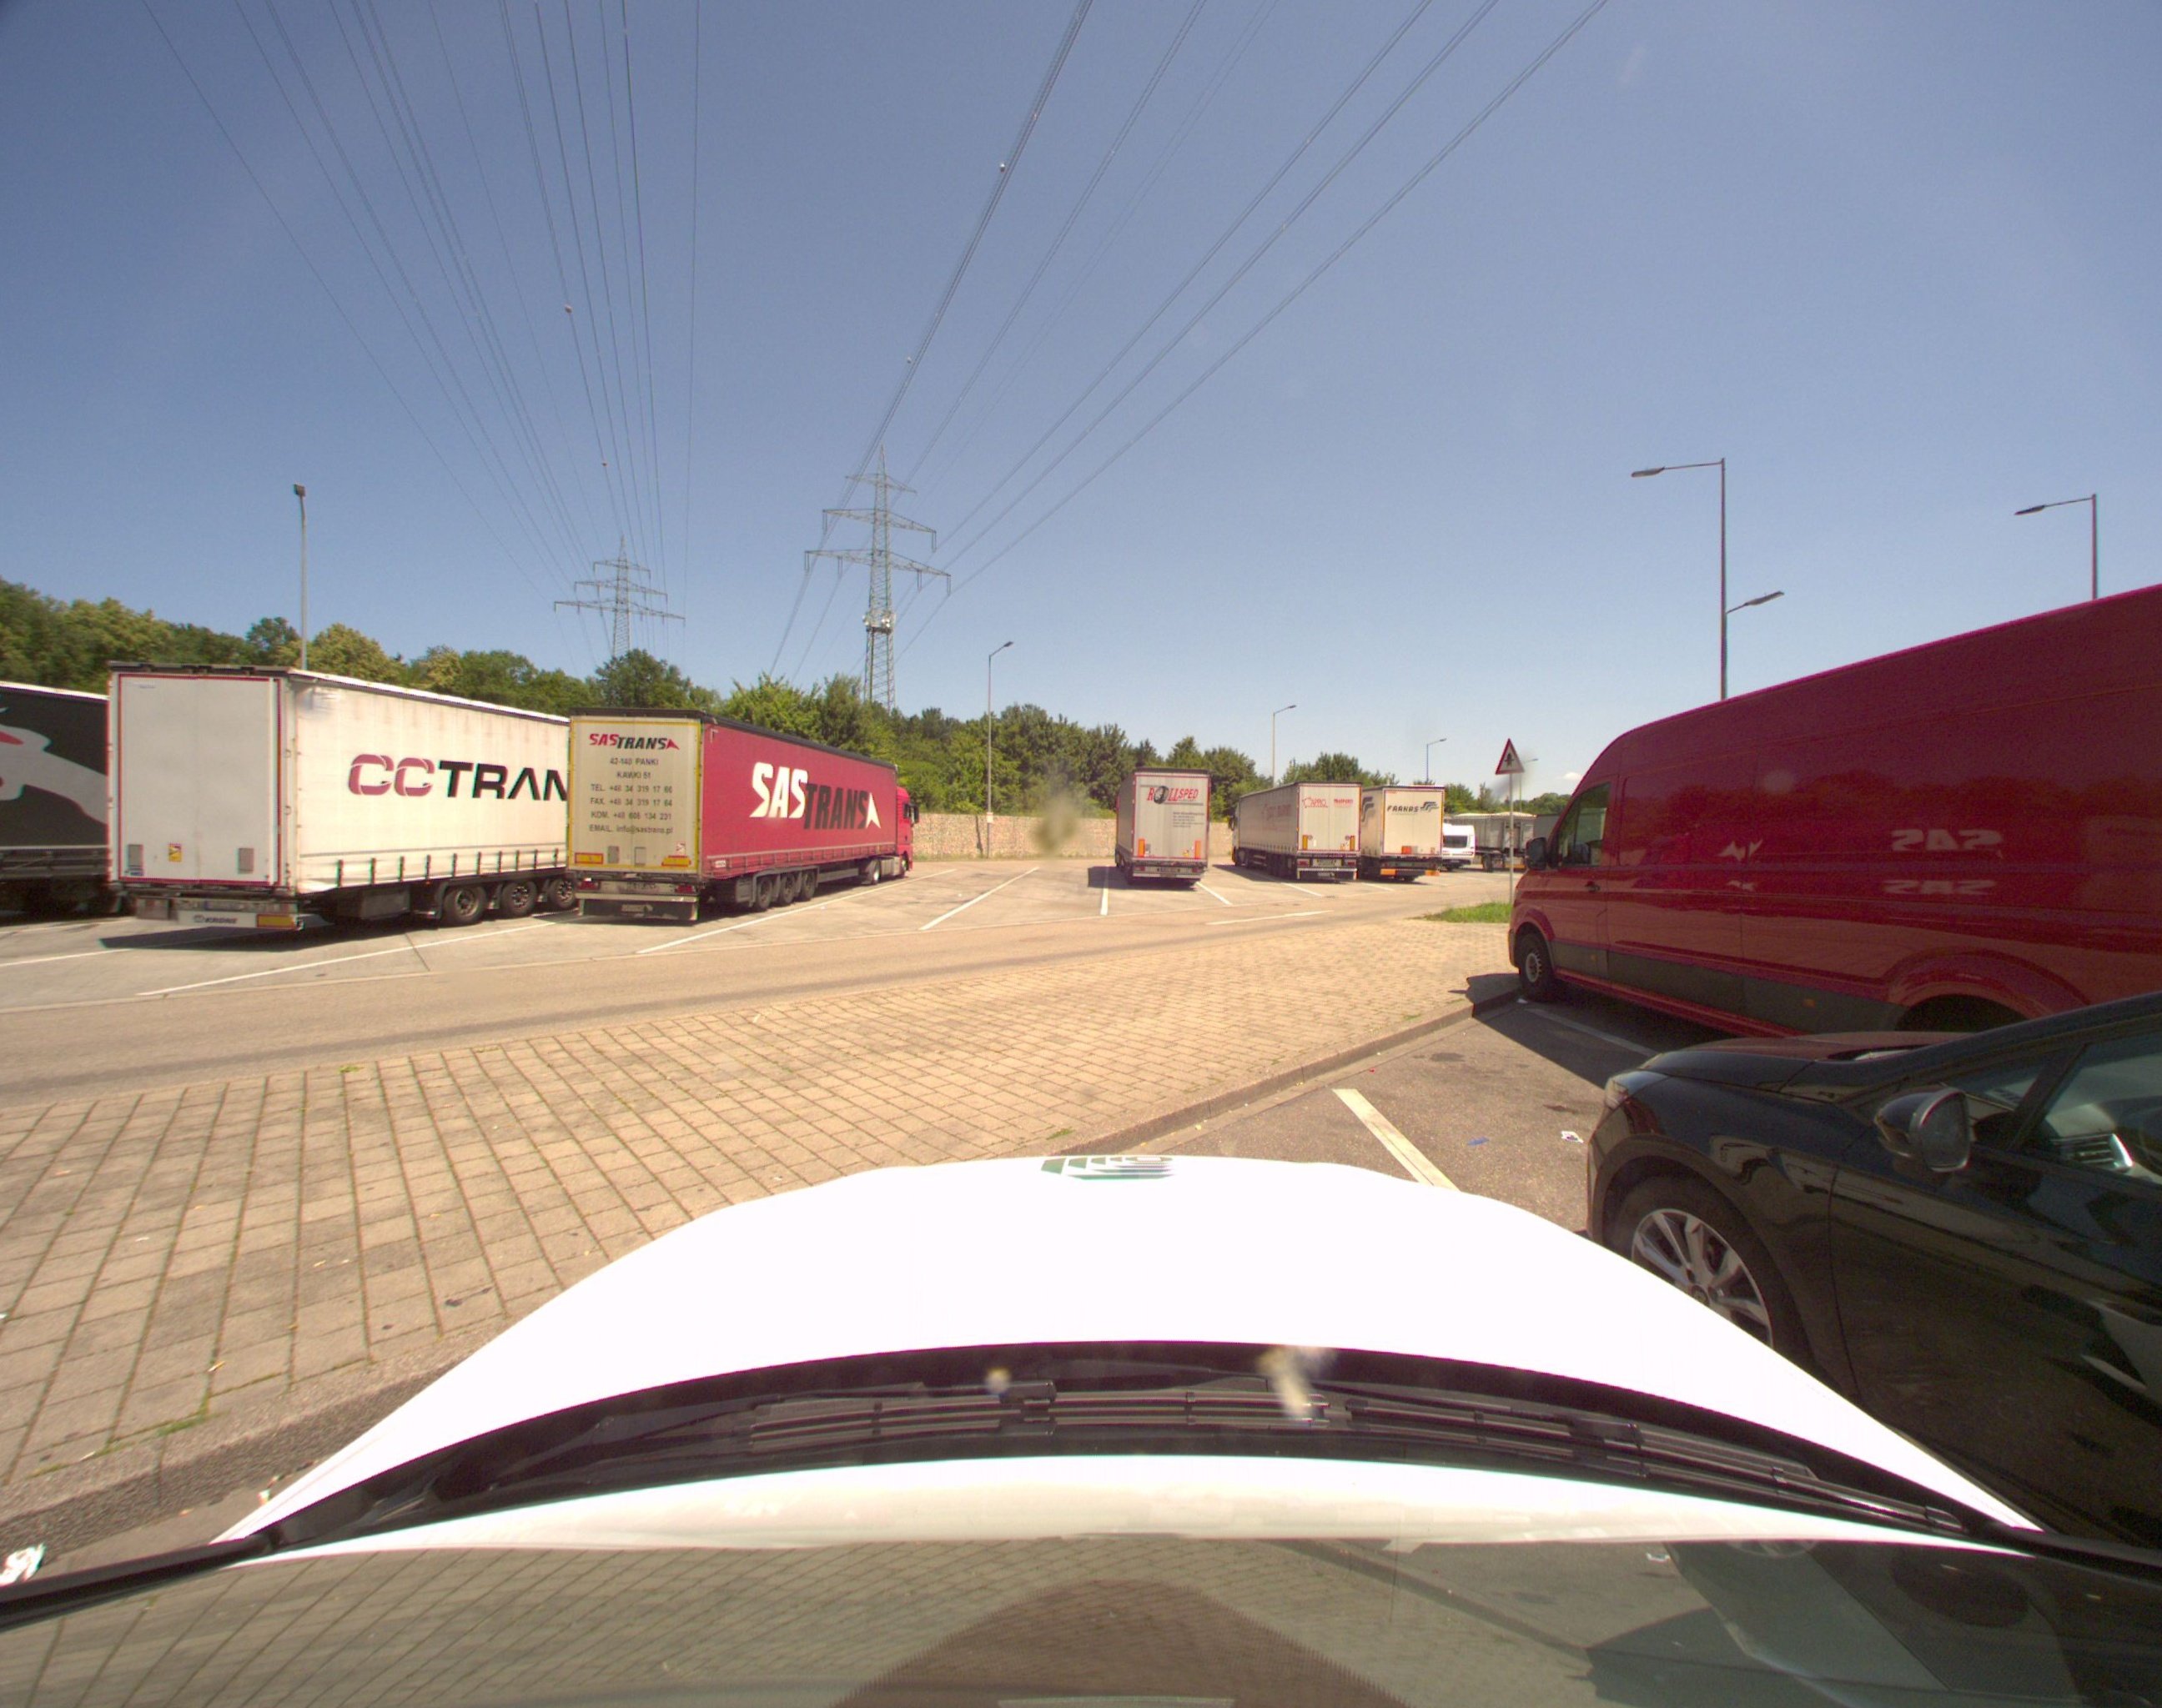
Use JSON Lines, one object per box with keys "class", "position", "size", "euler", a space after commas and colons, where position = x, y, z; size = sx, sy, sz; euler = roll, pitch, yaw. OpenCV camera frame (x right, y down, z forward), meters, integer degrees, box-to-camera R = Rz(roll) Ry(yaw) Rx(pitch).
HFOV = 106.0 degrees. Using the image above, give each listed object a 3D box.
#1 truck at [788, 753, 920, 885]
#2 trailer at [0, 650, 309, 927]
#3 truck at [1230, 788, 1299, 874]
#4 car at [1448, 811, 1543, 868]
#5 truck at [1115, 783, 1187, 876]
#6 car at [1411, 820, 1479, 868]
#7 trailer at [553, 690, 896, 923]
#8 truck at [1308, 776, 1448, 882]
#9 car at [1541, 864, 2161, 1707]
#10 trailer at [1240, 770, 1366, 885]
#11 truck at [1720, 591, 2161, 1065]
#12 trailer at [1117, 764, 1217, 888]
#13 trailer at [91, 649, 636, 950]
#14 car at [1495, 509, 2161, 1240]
{"class": "truck", "position": [-7.756, -1.140, 28.713], "size": [2.795, 4.133, 5.896], "euler": [-1, 1, 2]}
{"class": "trailer", "position": [-18.565, -1.065, 14.974], "size": [2.668, 4.444, 6.151], "euler": [-1, 1, 2]}
{"class": "truck", "position": [10.074, -1.239, 45.215], "size": [2.651, 4.452, 5.866], "euler": [-1, 1, 2]}
{"class": "car", "position": [24.131, -0.828, 47.752], "size": [2.490, 3.074, 6.353], "euler": [-1, 1, 2]}
{"class": "truck", "position": [3.124, -1.093, 37.765], "size": [2.862, 3.980, 6.030], "euler": [0, 1, 1]}
{"class": "car", "position": [20.533, -0.524, 46.130], "size": [2.107, 2.599, 4.001], "euler": [0, -1, 2]}
{"class": "trailer", "position": [-8.006, -0.950, 21.457], "size": [2.789, 4.219, 13.208], "euler": [-1, 1, 2]}
{"class": "truck", "position": [13.527, -0.945, 38.536], "size": [2.577, 4.226, 11.974], "euler": [0, -1, 2]}
{"class": "car", "position": [2.541, 0.754, 0.958], "size": [1.772, 1.457, 3.681], "euler": [0, -1, -3]}
{"class": "trailer", "position": [9.898, -1.118, 38.148], "size": [2.672, 4.452, 12.833], "euler": [-1, 1, 1]}
{"class": "truck", "position": [7.786, -0.153, 6.022], "size": [2.508, 2.827, 4.821], "euler": [0, -1, 3]}
{"class": "trailer", "position": [3.058, -1.009, 32.259], "size": [2.887, 4.013, 11.318], "euler": [-1, 1, 1]}
{"class": "trailer", "position": [-12.192, -0.811, 15.412], "size": [2.744, 4.152, 8.291], "euler": [0, 1, 2]}
{"class": "car", "position": [5.137, 0.030, 5.491], "size": [1.984, 2.633, 6.393], "euler": [-1, 1, 5]}
